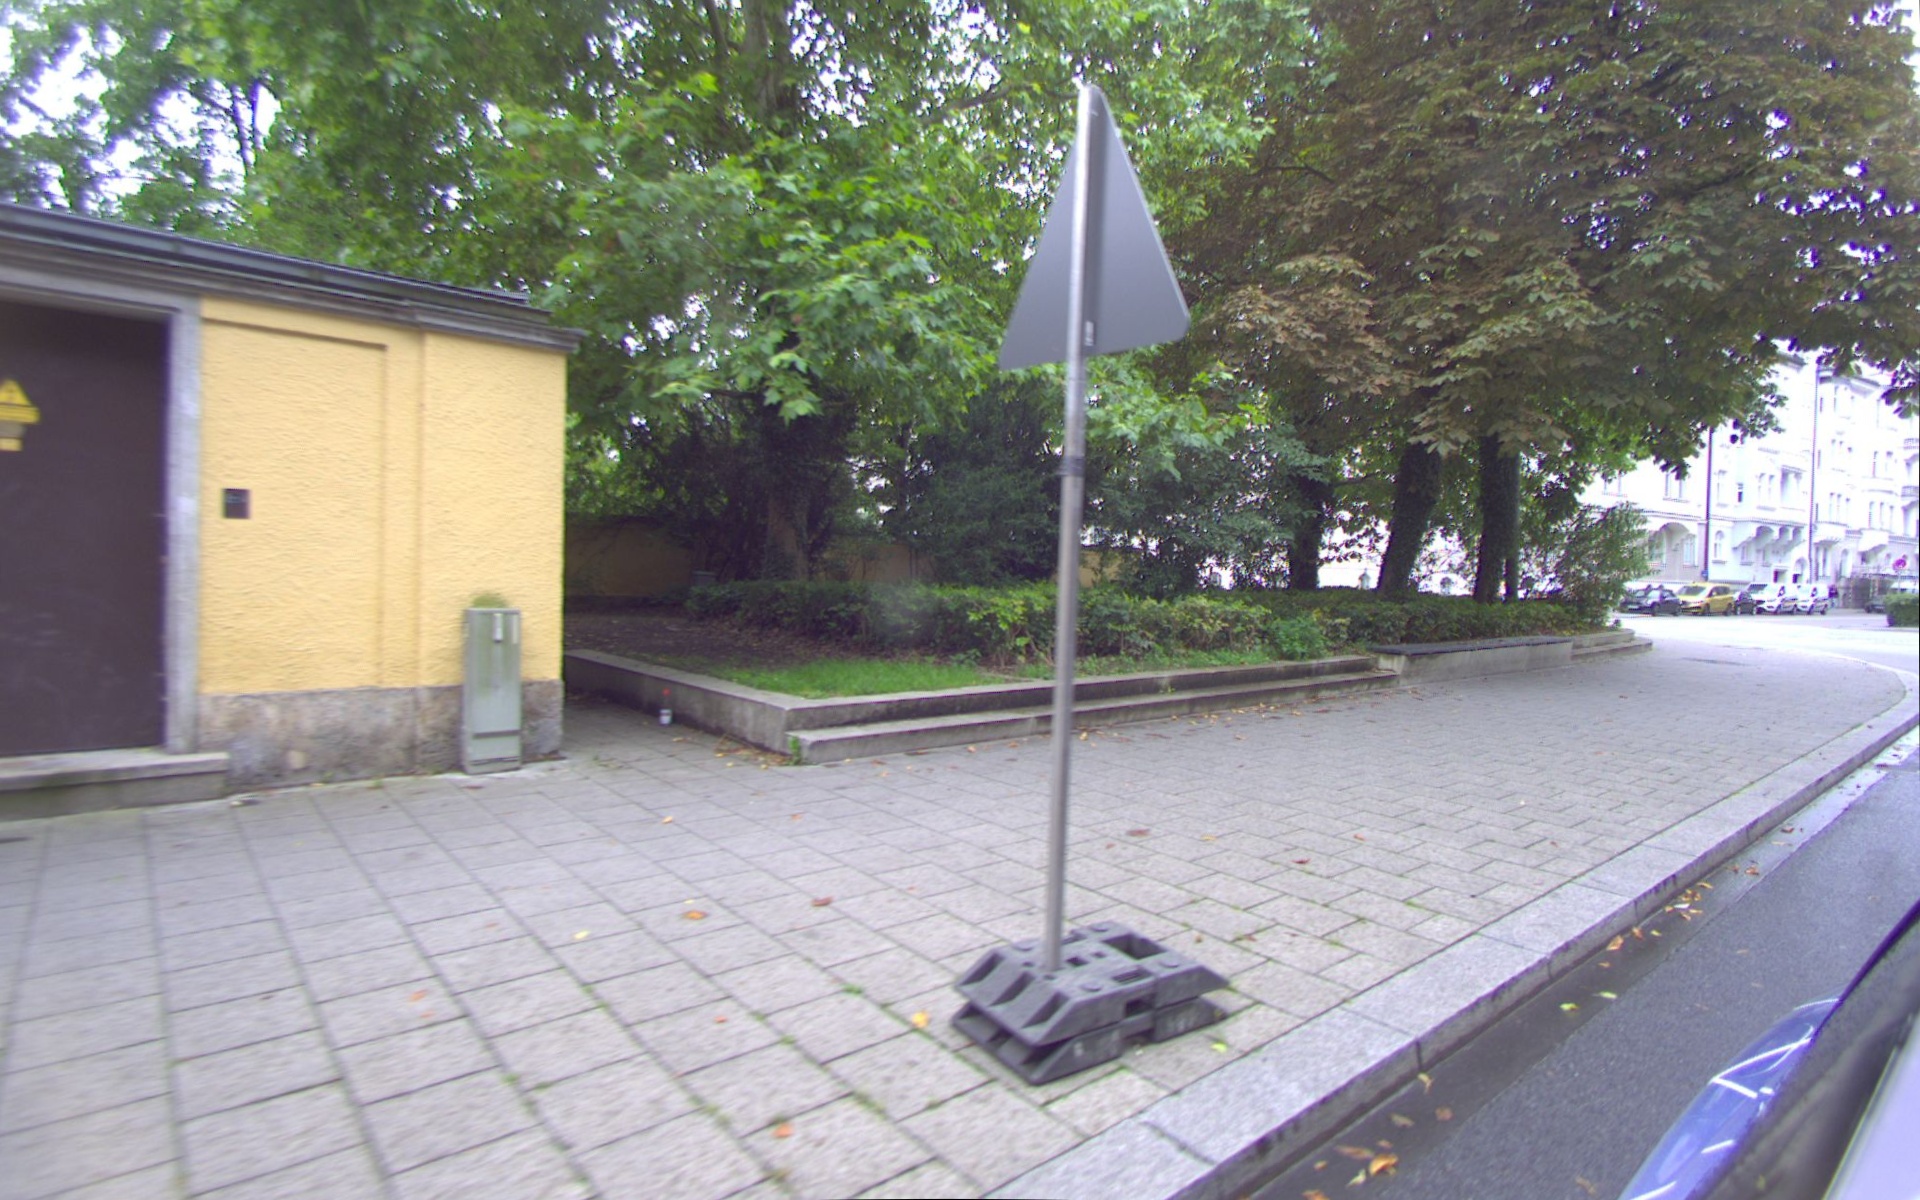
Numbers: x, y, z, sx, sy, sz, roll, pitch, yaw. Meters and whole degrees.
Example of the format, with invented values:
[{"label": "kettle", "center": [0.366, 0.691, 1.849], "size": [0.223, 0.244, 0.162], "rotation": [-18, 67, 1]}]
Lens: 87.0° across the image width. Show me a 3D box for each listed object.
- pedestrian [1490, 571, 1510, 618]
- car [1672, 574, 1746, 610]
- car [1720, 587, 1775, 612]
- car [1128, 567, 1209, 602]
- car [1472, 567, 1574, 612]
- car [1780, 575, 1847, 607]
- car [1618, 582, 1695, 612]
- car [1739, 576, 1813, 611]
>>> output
[{"label": "pedestrian", "center": [21.216, -0.218, 39.745], "size": [0.558, 1.790, 0.406], "rotation": [0, 2, -24]}, {"label": "car", "center": [41.484, -0.475, 56.023], "size": [4.219, 1.841, 1.798], "rotation": [-1, 3, -32]}, {"label": "car", "center": [46.136, -0.054, 59.251], "size": [3.292, 1.375, 1.444], "rotation": [-1, 3, -32]}, {"label": "car", "center": [10.358, -0.813, 50.454], "size": [1.704, 1.602, 4.005], "rotation": [-1, 3, -31]}, {"label": "car", "center": [26.167, -0.482, 46.987], "size": [4.875, 1.958, 1.954], "rotation": [0, 2, -32]}, {"label": "car", "center": [55.348, -0.614, 65.637], "size": [4.487, 1.962, 2.056], "rotation": [-1, 3, -33]}, {"label": "car", "center": [36.805, -0.204, 53.452], "size": [3.744, 1.437, 1.954], "rotation": [-1, 3, -31]}, {"label": "car", "center": [50.147, -0.441, 62.165], "size": [4.680, 1.936, 2.161], "rotation": [-1, 3, -33]}]
